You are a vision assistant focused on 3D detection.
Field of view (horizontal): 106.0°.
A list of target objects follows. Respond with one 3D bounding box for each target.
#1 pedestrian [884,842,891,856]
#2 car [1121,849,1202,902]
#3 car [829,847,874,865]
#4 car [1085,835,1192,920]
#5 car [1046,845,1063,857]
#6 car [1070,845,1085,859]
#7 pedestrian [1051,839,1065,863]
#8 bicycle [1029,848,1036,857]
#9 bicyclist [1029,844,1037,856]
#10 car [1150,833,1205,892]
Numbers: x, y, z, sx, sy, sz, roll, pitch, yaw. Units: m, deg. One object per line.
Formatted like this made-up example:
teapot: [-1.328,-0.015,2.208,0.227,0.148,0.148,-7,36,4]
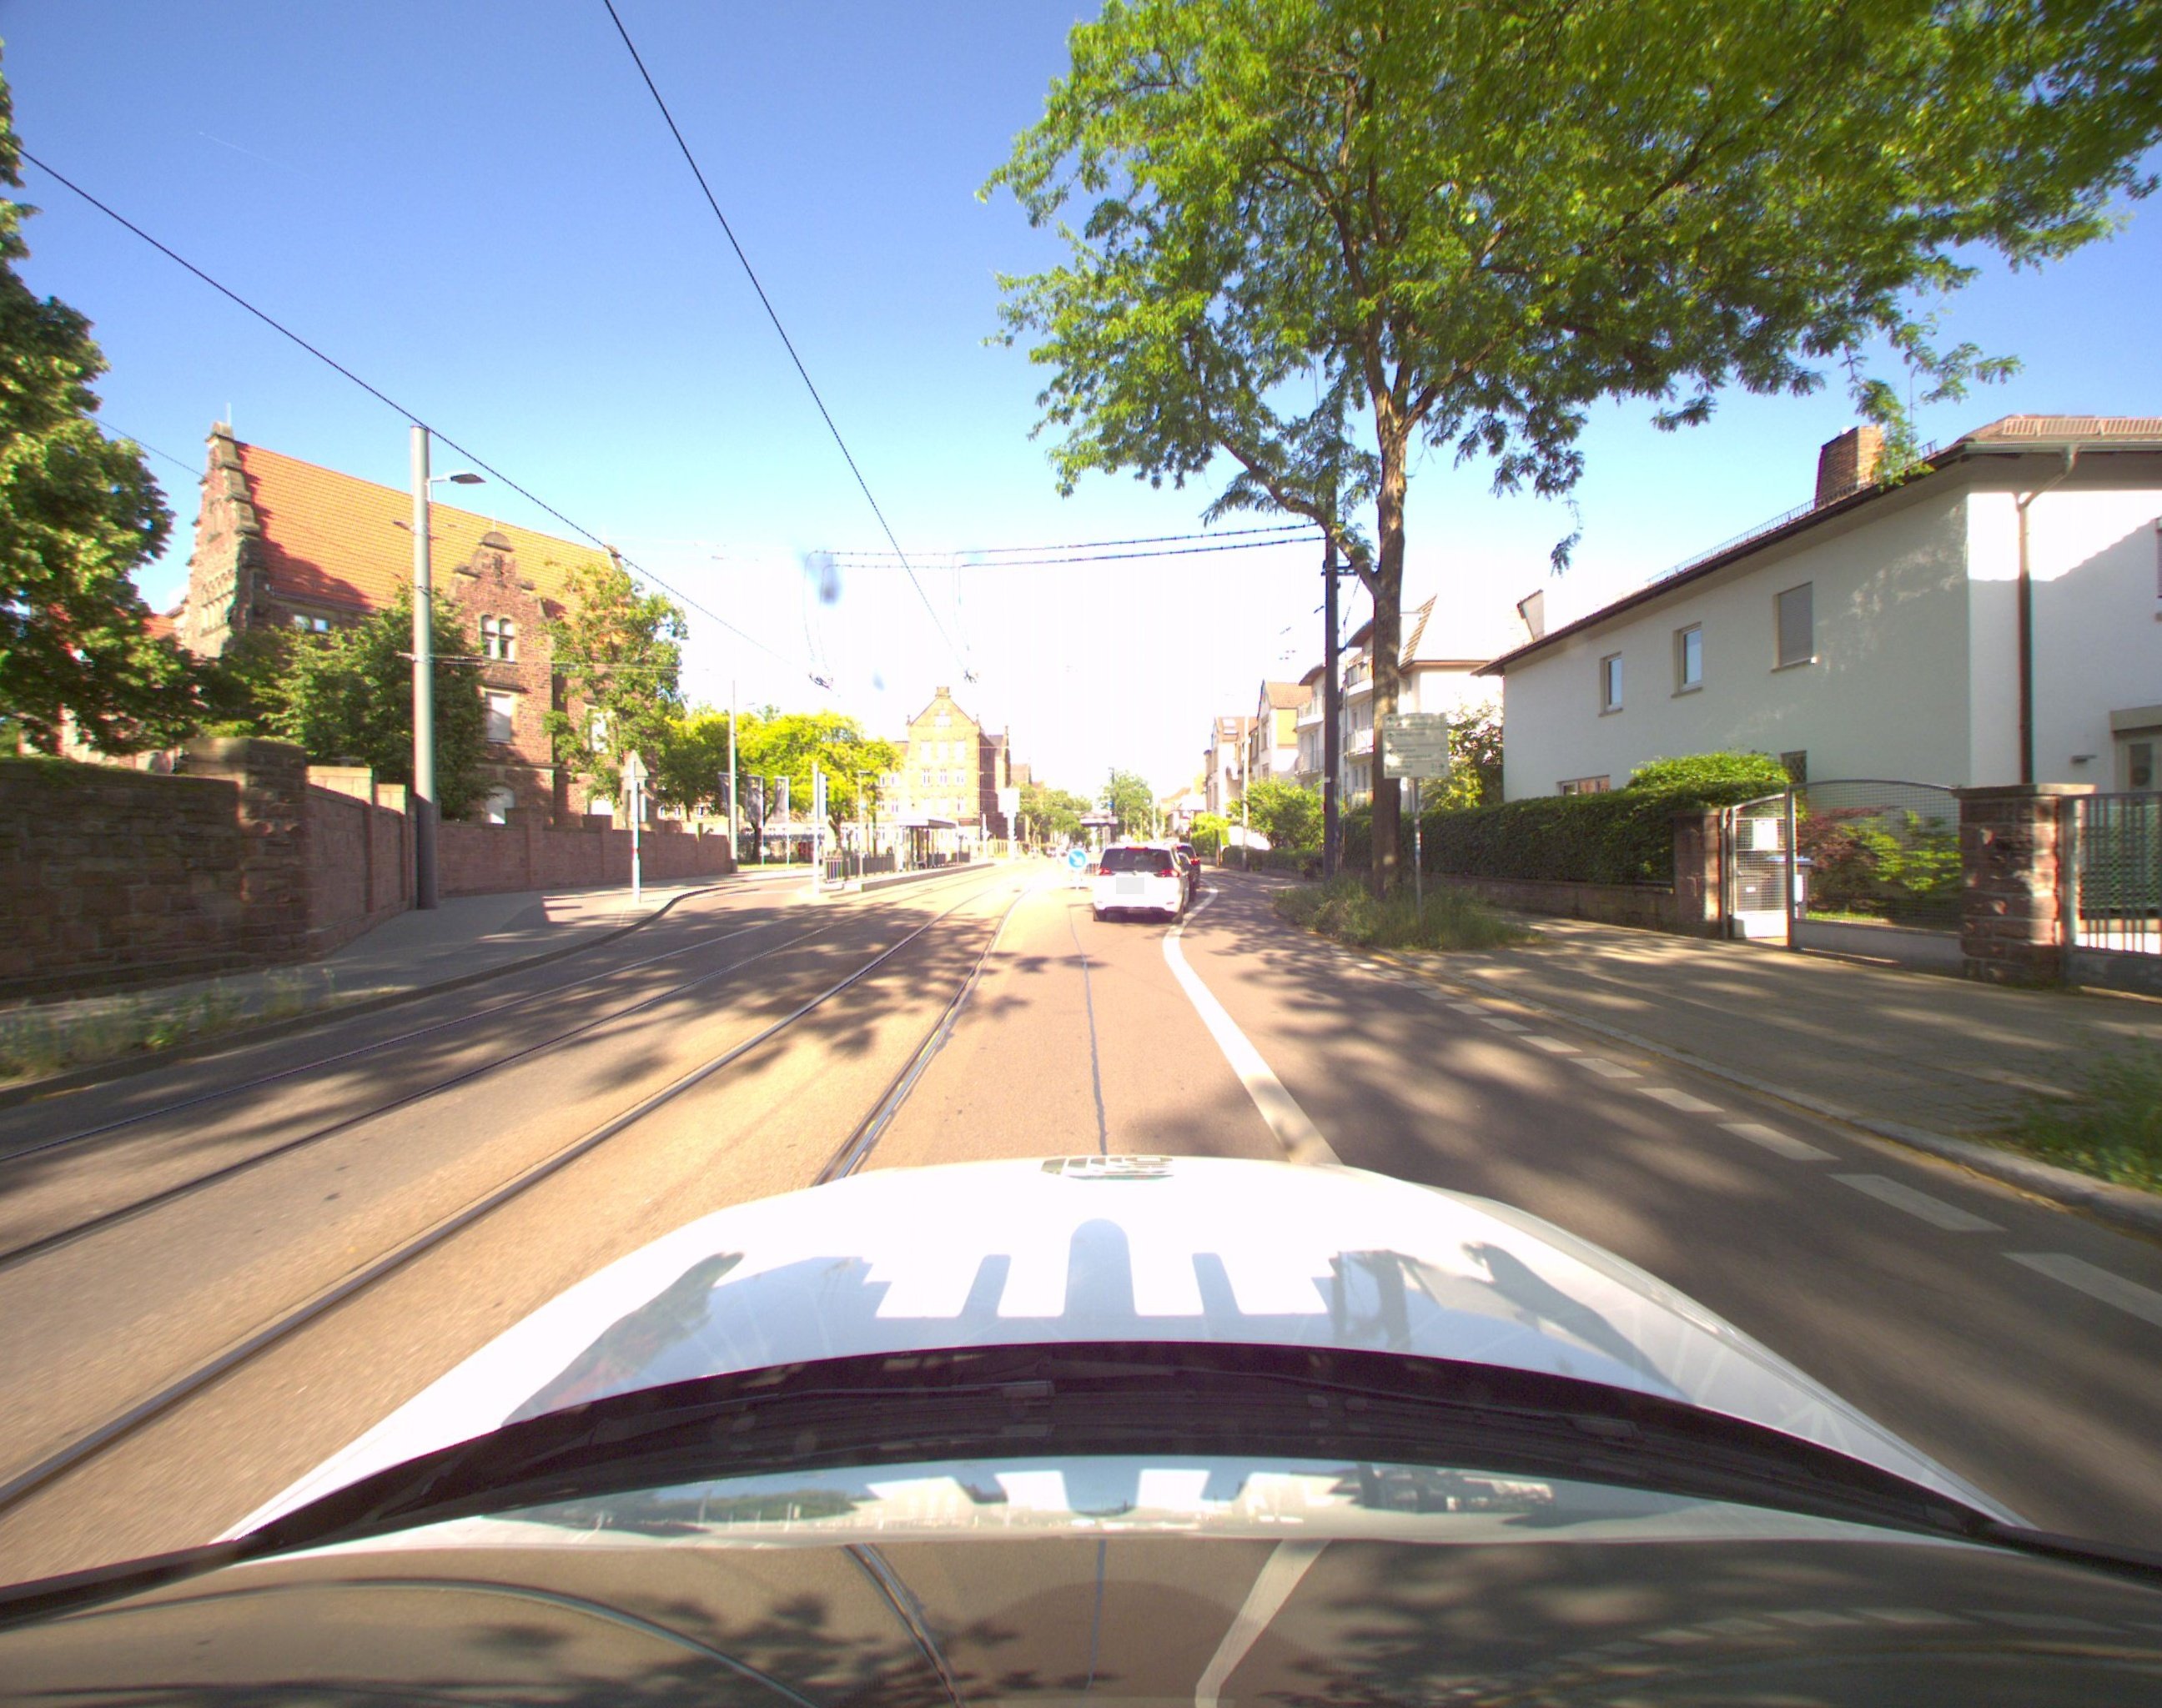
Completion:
pedestrian: [-17.942,-0.488,75.501,0.556,1.259,0.530,-1,0,1]
car: [2.491,0.591,24.342,1.981,1.442,4.013,-1,0,11]
car: [-23.019,0.215,81.798,3.977,1.789,1.998,-1,0,-3]
car: [1.376,0.509,17.726,1.881,1.611,4.239,-1,-2,10]
car: [-4.062,-0.473,124.387,1.983,1.722,4.007,-1,0,6]
car: [-0.473,-0.282,117.678,1.985,1.913,4.003,-1,0,3]
pedestrian: [-2.027,-0.246,71.211,1.151,2.013,1.120,-1,1,1]
bicycle: [-6.718,-0.228,113.390,0.818,1.297,2.678,-1,0,0]
bicyclist: [-6.703,-0.556,113.678,0.940,1.734,0.861,-1,0,1]
car: [3.652,0.285,30.431,1.698,2.013,3.919,-1,0,11]
